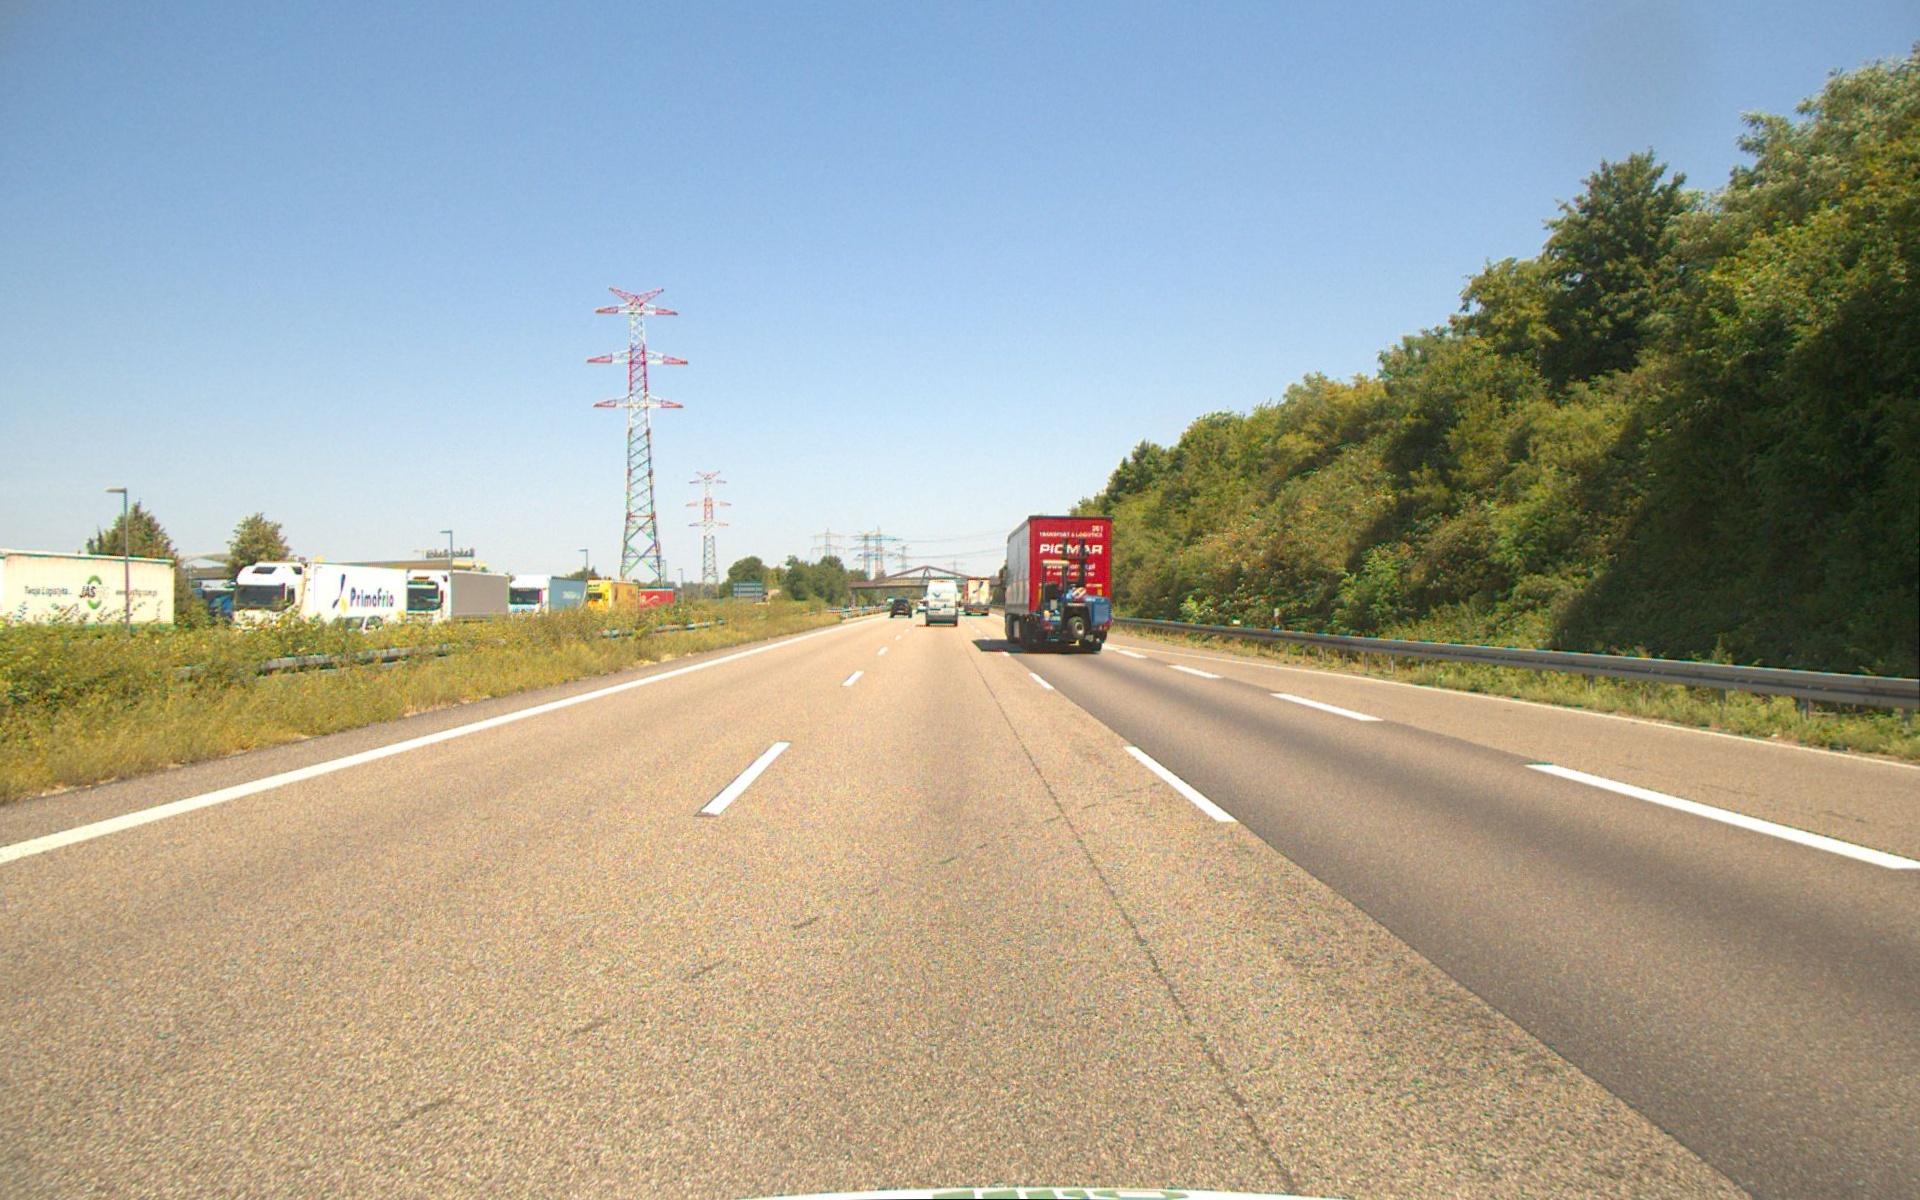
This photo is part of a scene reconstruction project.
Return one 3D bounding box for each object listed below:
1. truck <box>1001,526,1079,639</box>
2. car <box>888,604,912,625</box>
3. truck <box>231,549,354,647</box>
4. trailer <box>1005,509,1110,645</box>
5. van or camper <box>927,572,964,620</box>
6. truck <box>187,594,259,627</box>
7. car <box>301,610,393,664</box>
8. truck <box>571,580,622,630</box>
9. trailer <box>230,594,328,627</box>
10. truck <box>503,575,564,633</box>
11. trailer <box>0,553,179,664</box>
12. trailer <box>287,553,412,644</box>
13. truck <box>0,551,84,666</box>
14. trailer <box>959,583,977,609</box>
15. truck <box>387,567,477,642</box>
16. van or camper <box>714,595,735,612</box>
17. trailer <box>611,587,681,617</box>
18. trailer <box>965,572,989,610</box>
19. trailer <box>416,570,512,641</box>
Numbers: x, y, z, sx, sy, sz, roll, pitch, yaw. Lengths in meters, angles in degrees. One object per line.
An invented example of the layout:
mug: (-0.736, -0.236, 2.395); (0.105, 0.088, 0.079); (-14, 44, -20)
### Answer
truck: (2.923, -0.602, 62.118); (2.448, 3.988, 7.095); (0, 0, -1)
car: (-5.488, 1.355, 151.260); (1.941, 1.849, 3.813); (1, 0, 1)
truck: (-30.591, -0.079, 76.169); (2.529, 4.262, 7.934); (1, 0, -1)
trailer: (3.031, -0.650, 55.336); (2.440, 3.978, 14.242); (0, 0, -1)
van or camper: (-0.891, -0.234, 102.960); (2.185, 2.831, 5.422); (1, 0, 0)
truck: (-82.151, 1.177, 184.457); (2.917, 3.551, 7.059); (1, 0, 28)
car: (-21.484, 1.264, 58.173); (1.617, 1.778, 4.407); (1, 0, -1)
truck: (-31.706, 0.433, 144.702); (2.776, 4.274, 7.916); (1, 0, -1)
trailer: (-78.566, 1.267, 191.065); (2.936, 3.582, 11.045); (1, 0, 29)
truck: (-31.639, 0.304, 122.857); (2.792, 4.144, 7.087); (1, 0, -2)
trailer: (-37.011, 0.312, 69.249); (3.031, 4.229, 12.008); (1, 0, -1)
trailer: (-30.739, -0.056, 83.858); (2.546, 4.292, 10.512); (1, 0, -1)
truck: (-36.894, 0.298, 62.631); (3.032, 4.225, 8.314); (1, 0, -1)
trailer: (1.221, -0.588, 251.967); (2.583, 3.965, 7.068); (1, 0, 0)
truck: (-31.275, 0.290, 98.308); (3.054, 4.231, 7.501); (1, 0, -2)
van or camper: (-26.813, 0.406, 188.455); (1.858, 1.871, 4.745); (0, 0, -1)
trailer: (-45.693, 0.280, 240.872); (3.066, 4.126, 11.280); (1, 0, 33)
trailer: (1.906, -1.000, 187.113); (2.583, 4.131, 12.366); (1, 0, 0)
trailer: (-31.503, 0.334, 105.535); (3.050, 4.231, 11.011); (1, 0, -2)
